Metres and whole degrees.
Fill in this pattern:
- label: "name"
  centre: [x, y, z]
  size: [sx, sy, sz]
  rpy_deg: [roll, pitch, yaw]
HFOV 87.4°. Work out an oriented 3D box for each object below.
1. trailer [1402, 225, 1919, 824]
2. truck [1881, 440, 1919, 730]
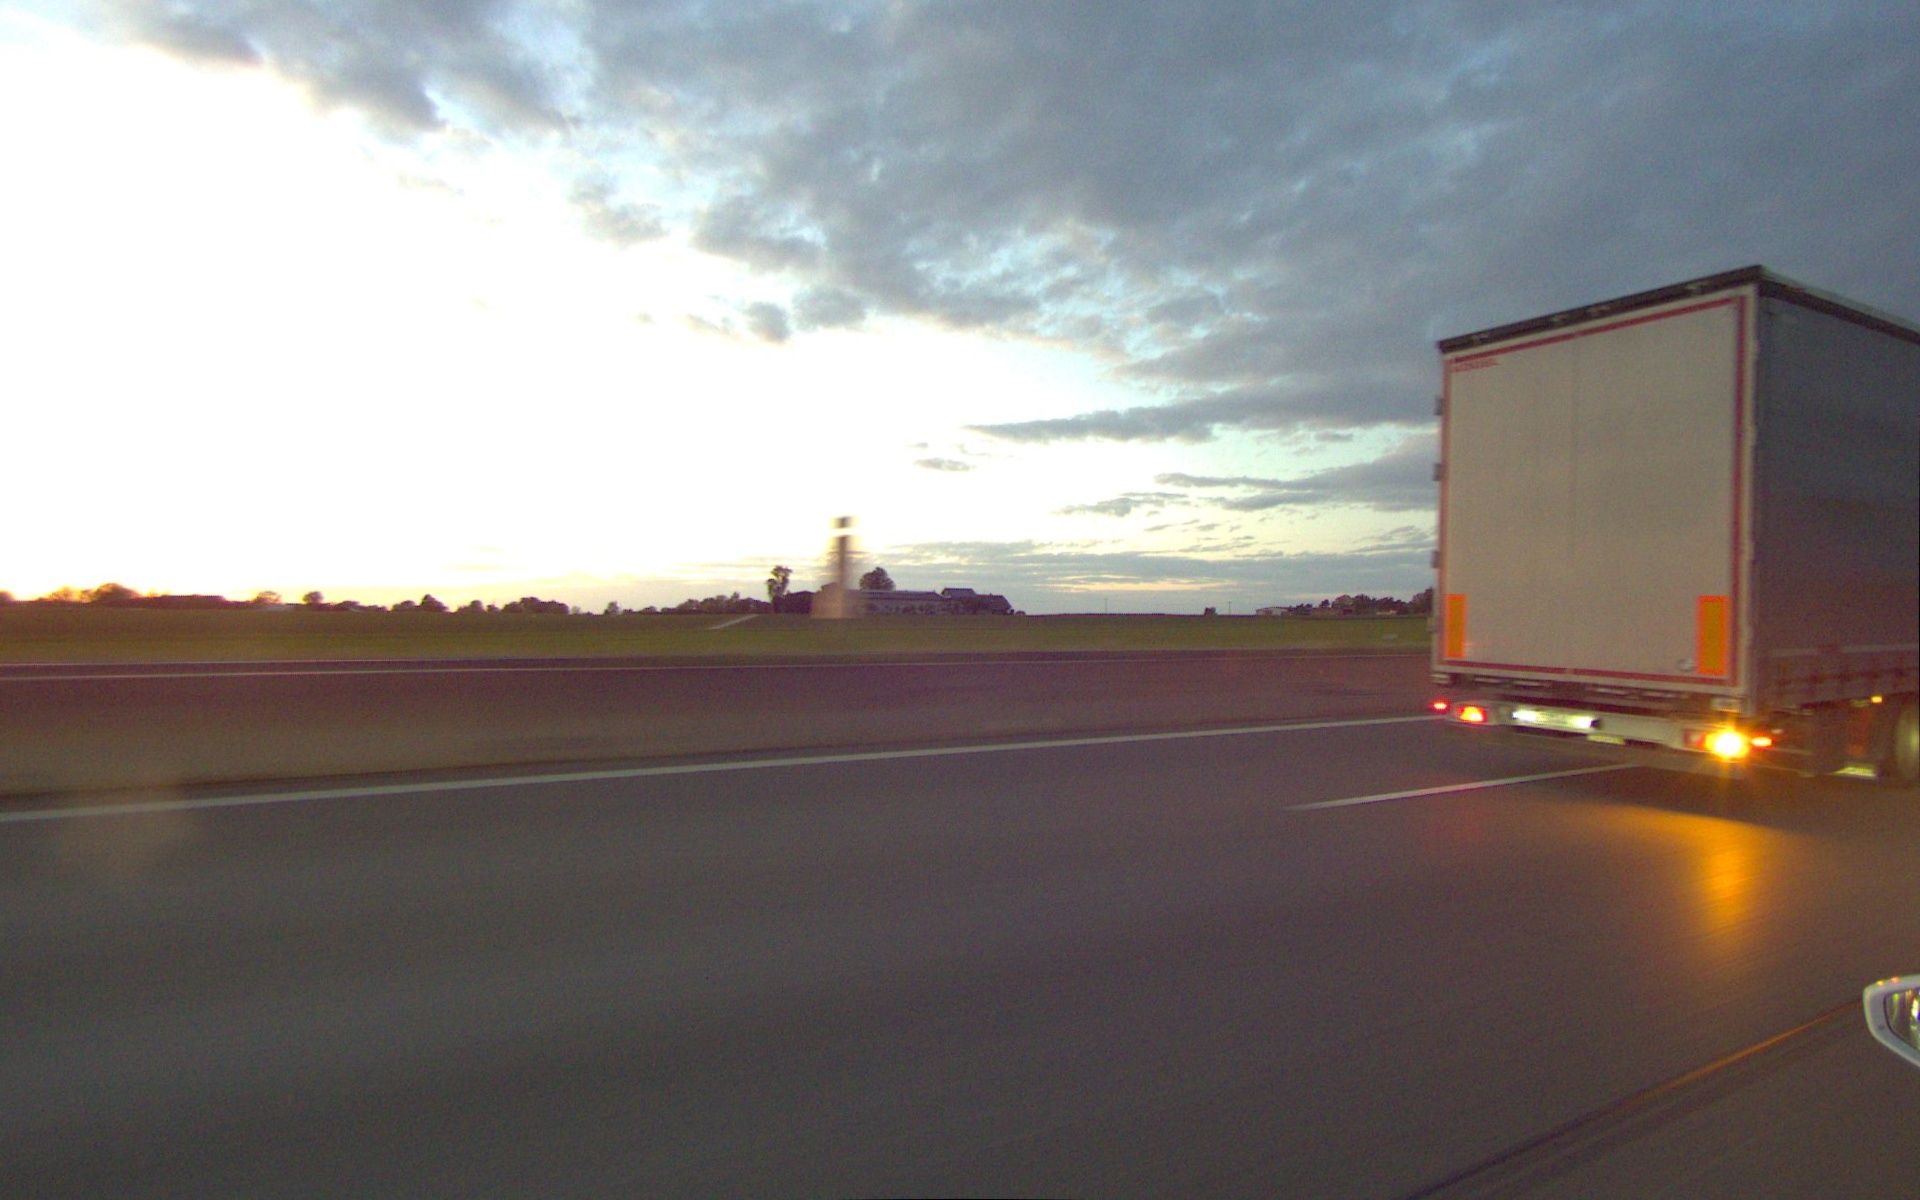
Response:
- label: "trailer"
  centre: [11.040, -0.308, 11.725]
  size: [14.352, 4.139, 2.781]
  rpy_deg: [2, -1, -30]
- label: "truck"
  centre: [16.803, -0.145, 15.032]
  size: [6.030, 4.146, 2.765]
  rpy_deg: [2, -1, -30]
